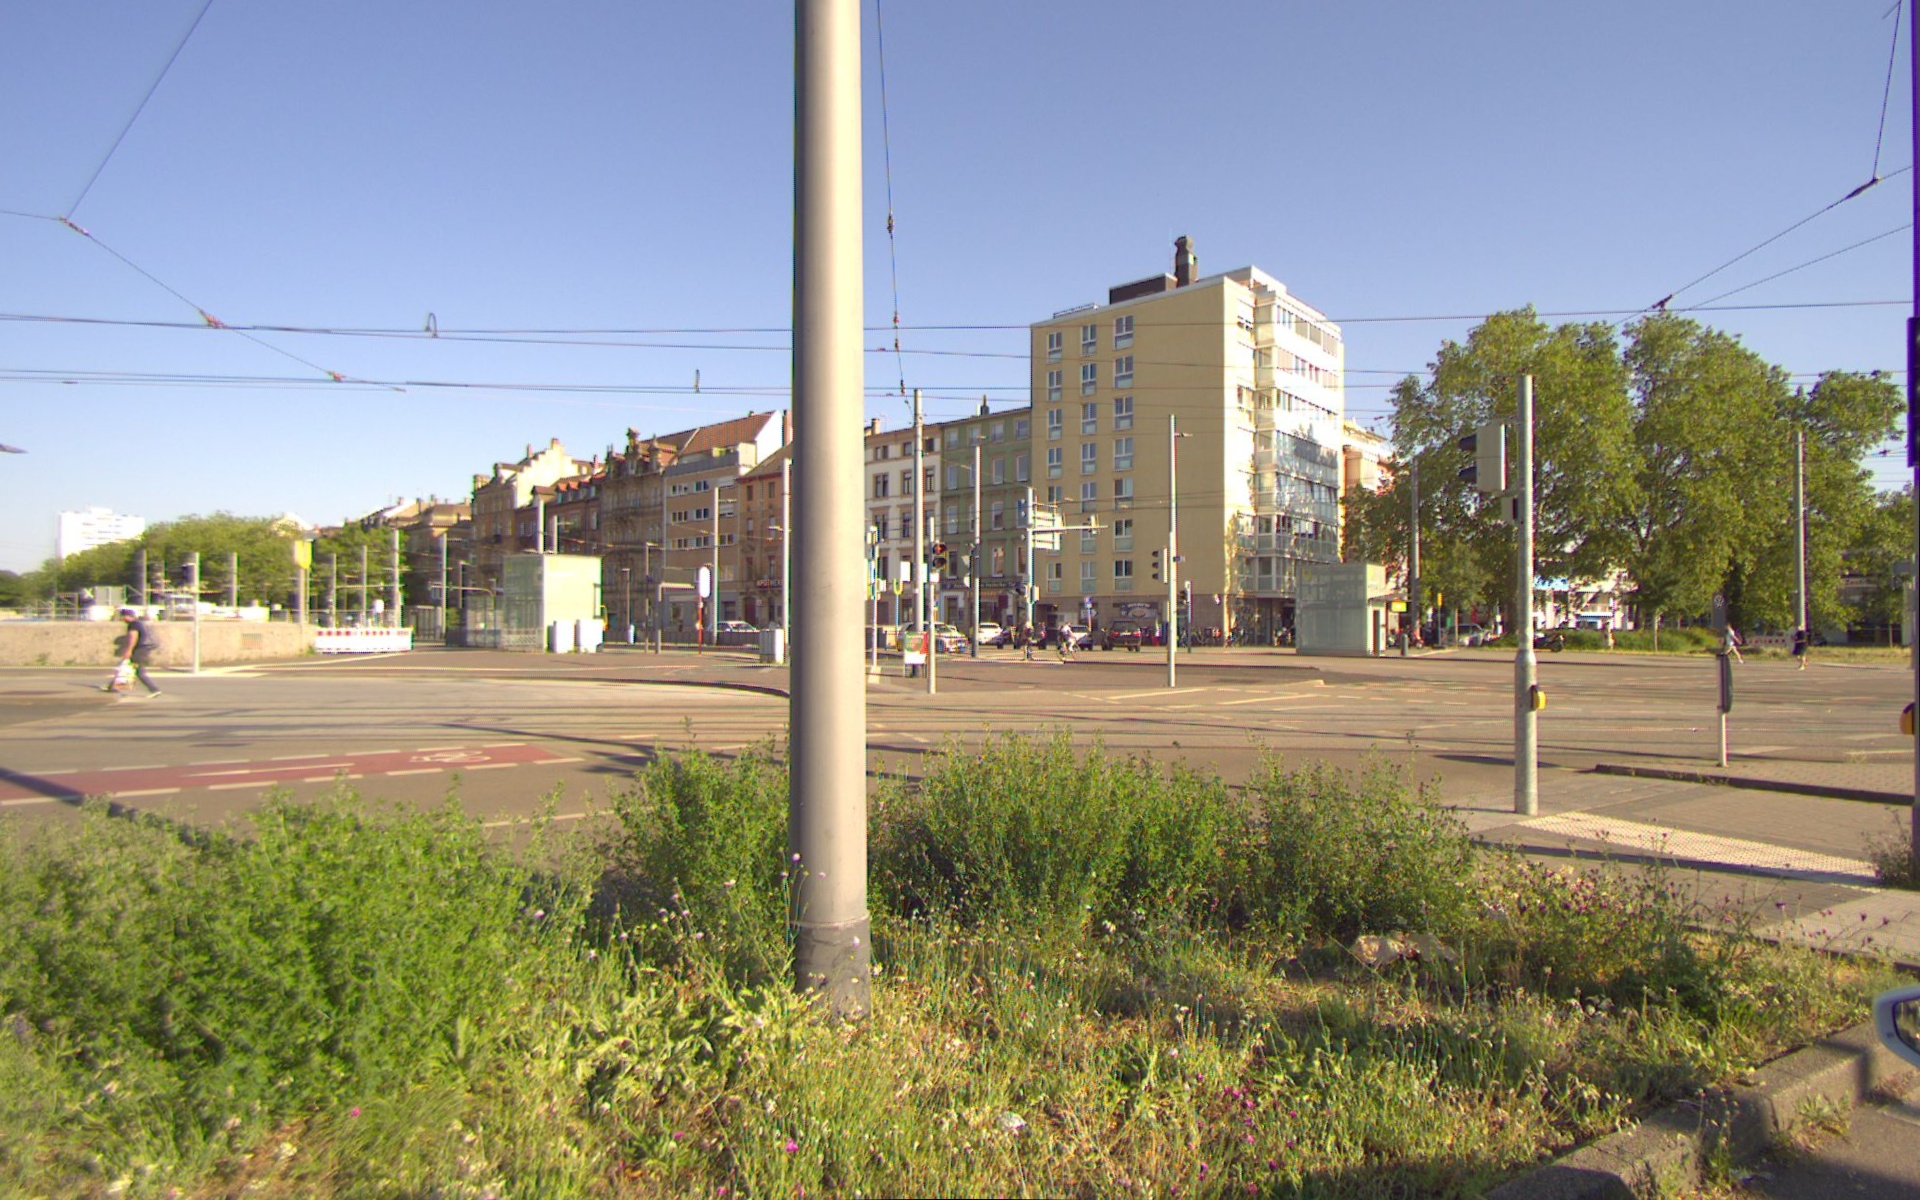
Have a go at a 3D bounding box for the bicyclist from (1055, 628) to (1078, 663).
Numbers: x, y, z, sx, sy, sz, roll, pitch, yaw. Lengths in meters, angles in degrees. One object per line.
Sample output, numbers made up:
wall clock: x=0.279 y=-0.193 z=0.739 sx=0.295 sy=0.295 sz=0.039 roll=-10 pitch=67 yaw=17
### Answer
bicyclist: x=4.324 y=1.841 z=40.626 sx=0.617 sy=1.368 sz=0.658 roll=2 pitch=0 yaw=44

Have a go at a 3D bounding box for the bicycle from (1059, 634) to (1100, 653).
bicycle: x=8.184 y=3.007 z=69.066 sx=3.003 sy=1.167 sz=0.637 roll=1 pitch=0 yaw=44

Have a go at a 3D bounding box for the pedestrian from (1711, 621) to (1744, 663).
pedestrian: x=32.443 y=1.766 z=42.473 sx=0.747 sy=1.728 sz=0.793 roll=2 pitch=0 yaw=-22

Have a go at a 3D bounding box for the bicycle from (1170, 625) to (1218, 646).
bicycle: x=14.837 y=2.249 z=63.790 sx=3.003 sy=1.167 sz=0.637 roll=1 pitch=0 yaw=44

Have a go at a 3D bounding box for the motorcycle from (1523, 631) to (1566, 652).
motorcycle: x=29.136 y=2.063 z=50.104 sx=1.753 sy=0.926 sz=0.676 roll=2 pitch=0 yaw=41

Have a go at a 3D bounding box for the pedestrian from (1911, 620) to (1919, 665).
pedestrian: x=37.614 y=1.659 z=38.973 sx=0.747 sy=1.728 sz=0.793 roll=2 pitch=0 yaw=-22

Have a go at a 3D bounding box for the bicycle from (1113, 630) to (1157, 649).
bicycle: x=11.479 y=2.589 z=66.124 sx=3.003 sy=1.167 sz=0.637 roll=1 pitch=0 yaw=44

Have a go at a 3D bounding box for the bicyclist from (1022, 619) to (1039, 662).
bicyclist: x=2.901 y=1.665 z=41.430 sx=0.653 sy=1.706 sz=0.980 roll=2 pitch=0 yaw=2

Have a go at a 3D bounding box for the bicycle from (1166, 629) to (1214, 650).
bicycle: x=14.437 y=2.487 z=63.210 sx=3.003 sy=1.167 sz=0.637 roll=1 pitch=0 yaw=44

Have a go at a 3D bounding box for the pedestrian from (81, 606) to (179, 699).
pedestrian: x=-15.830 y=0.976 z=19.187 sx=0.985 sy=1.706 sz=1.042 roll=2 pitch=0 yaw=-6

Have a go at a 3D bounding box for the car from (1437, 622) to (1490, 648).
car: x=32.000 y=2.210 z=63.805 sx=3.973 sy=1.588 sz=1.753 roll=2 pitch=0 yaw=-44

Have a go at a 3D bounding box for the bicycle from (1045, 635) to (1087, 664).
bicycle: x=4.313 y=1.985 z=40.643 sx=0.617 sy=1.104 sz=1.914 roll=2 pitch=0 yaw=44

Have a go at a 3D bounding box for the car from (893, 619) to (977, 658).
car: x=-1.260 y=1.850 z=49.019 sx=3.941 sy=1.684 sz=1.777 roll=2 pitch=0 yaw=41

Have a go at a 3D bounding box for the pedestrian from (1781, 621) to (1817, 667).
pedestrian: x=32.441 y=1.699 z=38.854 sx=0.747 sy=1.728 sz=0.793 roll=2 pitch=0 yaw=-22

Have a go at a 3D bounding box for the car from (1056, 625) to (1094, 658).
car: x=6.734 y=2.418 z=59.260 sx=1.960 sy=1.728 sz=4.001 roll=2 pitch=0 yaw=4

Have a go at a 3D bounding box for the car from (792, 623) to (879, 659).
car: x=-6.715 y=2.153 z=53.906 sx=4.642 sy=1.684 sz=1.781 roll=2 pitch=0 yaw=35

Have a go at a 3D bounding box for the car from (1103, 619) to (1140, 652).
car: x=9.189 y=1.984 z=57.426 sx=1.684 sy=1.728 sz=4.001 roll=2 pitch=0 yaw=4

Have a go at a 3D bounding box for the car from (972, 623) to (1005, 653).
car: x=1.850 y=2.393 z=63.940 sx=1.960 sy=1.728 sz=4.001 roll=2 pitch=0 yaw=4

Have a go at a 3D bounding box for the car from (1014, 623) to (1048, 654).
car: x=4.326 y=2.322 z=61.514 sx=1.960 sy=1.728 sz=4.001 roll=2 pitch=0 yaw=4

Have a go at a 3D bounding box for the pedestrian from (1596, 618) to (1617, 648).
pedestrian: x=37.700 y=1.902 z=58.590 sx=0.491 sy=1.716 sz=0.852 roll=2 pitch=0 yaw=-32
